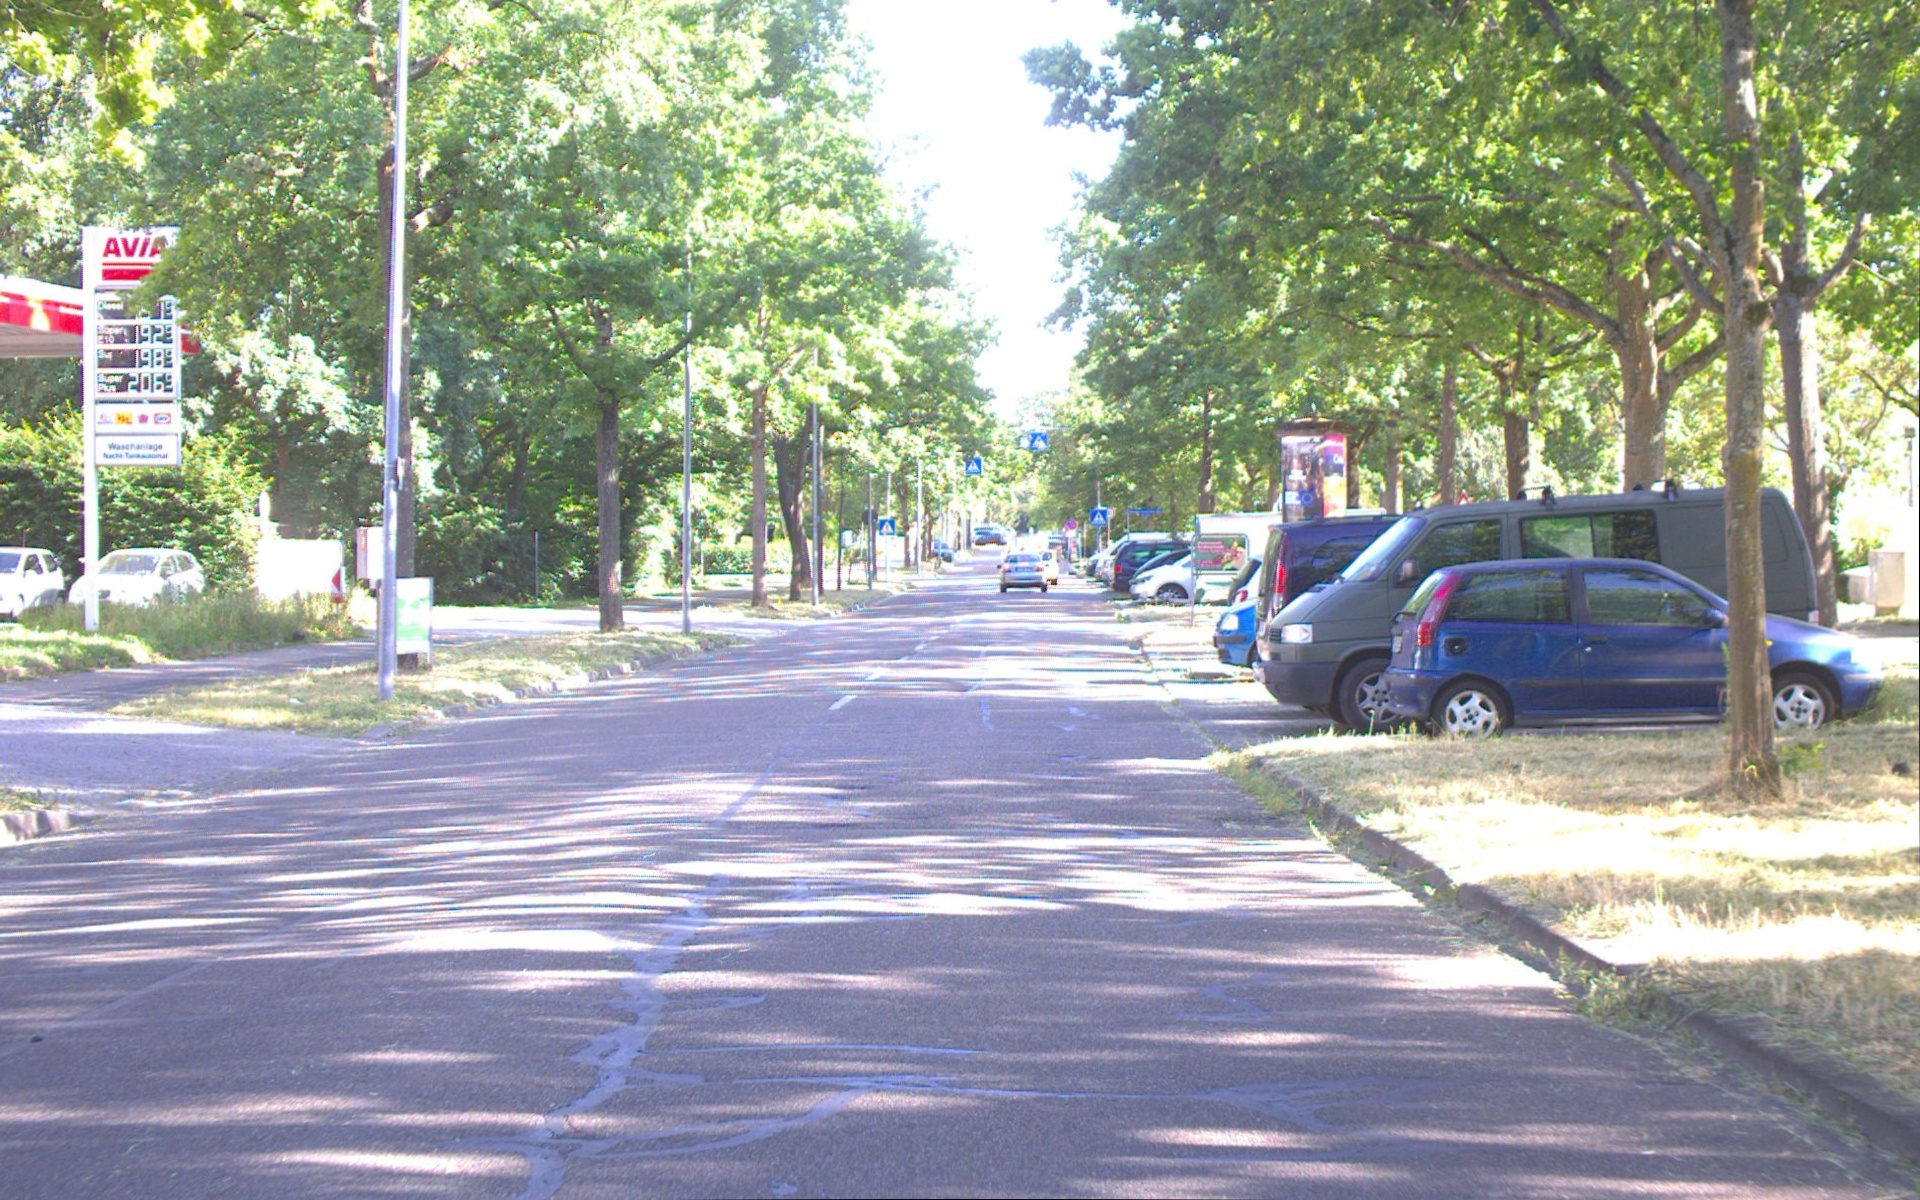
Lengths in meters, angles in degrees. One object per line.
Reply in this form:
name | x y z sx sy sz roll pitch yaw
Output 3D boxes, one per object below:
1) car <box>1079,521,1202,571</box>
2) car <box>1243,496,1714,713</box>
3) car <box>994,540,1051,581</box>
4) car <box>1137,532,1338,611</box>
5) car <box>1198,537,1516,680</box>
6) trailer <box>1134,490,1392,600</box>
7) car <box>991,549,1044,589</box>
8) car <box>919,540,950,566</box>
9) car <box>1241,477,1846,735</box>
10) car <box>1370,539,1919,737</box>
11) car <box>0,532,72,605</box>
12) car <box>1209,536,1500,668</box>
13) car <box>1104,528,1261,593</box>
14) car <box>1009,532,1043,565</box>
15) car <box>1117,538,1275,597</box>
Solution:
car | 7.789 -2.349 148.711 5.187 2.098 2.082 -1 1 0
car | 4.735 0.030 31.794 4.008 1.831 1.799 -2 1 -1
car | 2.248 -1.435 124.627 1.993 1.479 4.000 0 1 0
car | 6.573 -0.685 81.764 4.642 1.716 1.987 -2 1 3
car | 4.551 0.087 39.773 3.521 1.527 1.665 -2 1 3
trailer | 6.937 -1.261 78.971 5.775 2.310 1.686 -2 1 4
car | 2.348 -1.277 141.548 1.993 1.650 4.000 0 1 -2
car | -1.703 -3.190 231.935 1.993 1.711 4.000 1 1 1
car | 4.873 0.038 29.243 4.803 2.025 1.944 -1 1 1
car | 5.248 0.268 26.408 3.988 1.398 1.739 -1 1 1
car | -18.795 -0.633 67.526 1.423 1.363 3.204 2 1 9
car | 5.048 0.015 44.370 3.584 1.571 1.786 -2 1 3
car | 6.538 -1.176 101.335 4.530 1.795 1.936 -1 1 2
car | 3.925 -3.097 204.645 1.993 1.926 4.000 1 1 1
car | 6.479 -0.908 94.621 4.246 1.514 2.078 -1 1 3
